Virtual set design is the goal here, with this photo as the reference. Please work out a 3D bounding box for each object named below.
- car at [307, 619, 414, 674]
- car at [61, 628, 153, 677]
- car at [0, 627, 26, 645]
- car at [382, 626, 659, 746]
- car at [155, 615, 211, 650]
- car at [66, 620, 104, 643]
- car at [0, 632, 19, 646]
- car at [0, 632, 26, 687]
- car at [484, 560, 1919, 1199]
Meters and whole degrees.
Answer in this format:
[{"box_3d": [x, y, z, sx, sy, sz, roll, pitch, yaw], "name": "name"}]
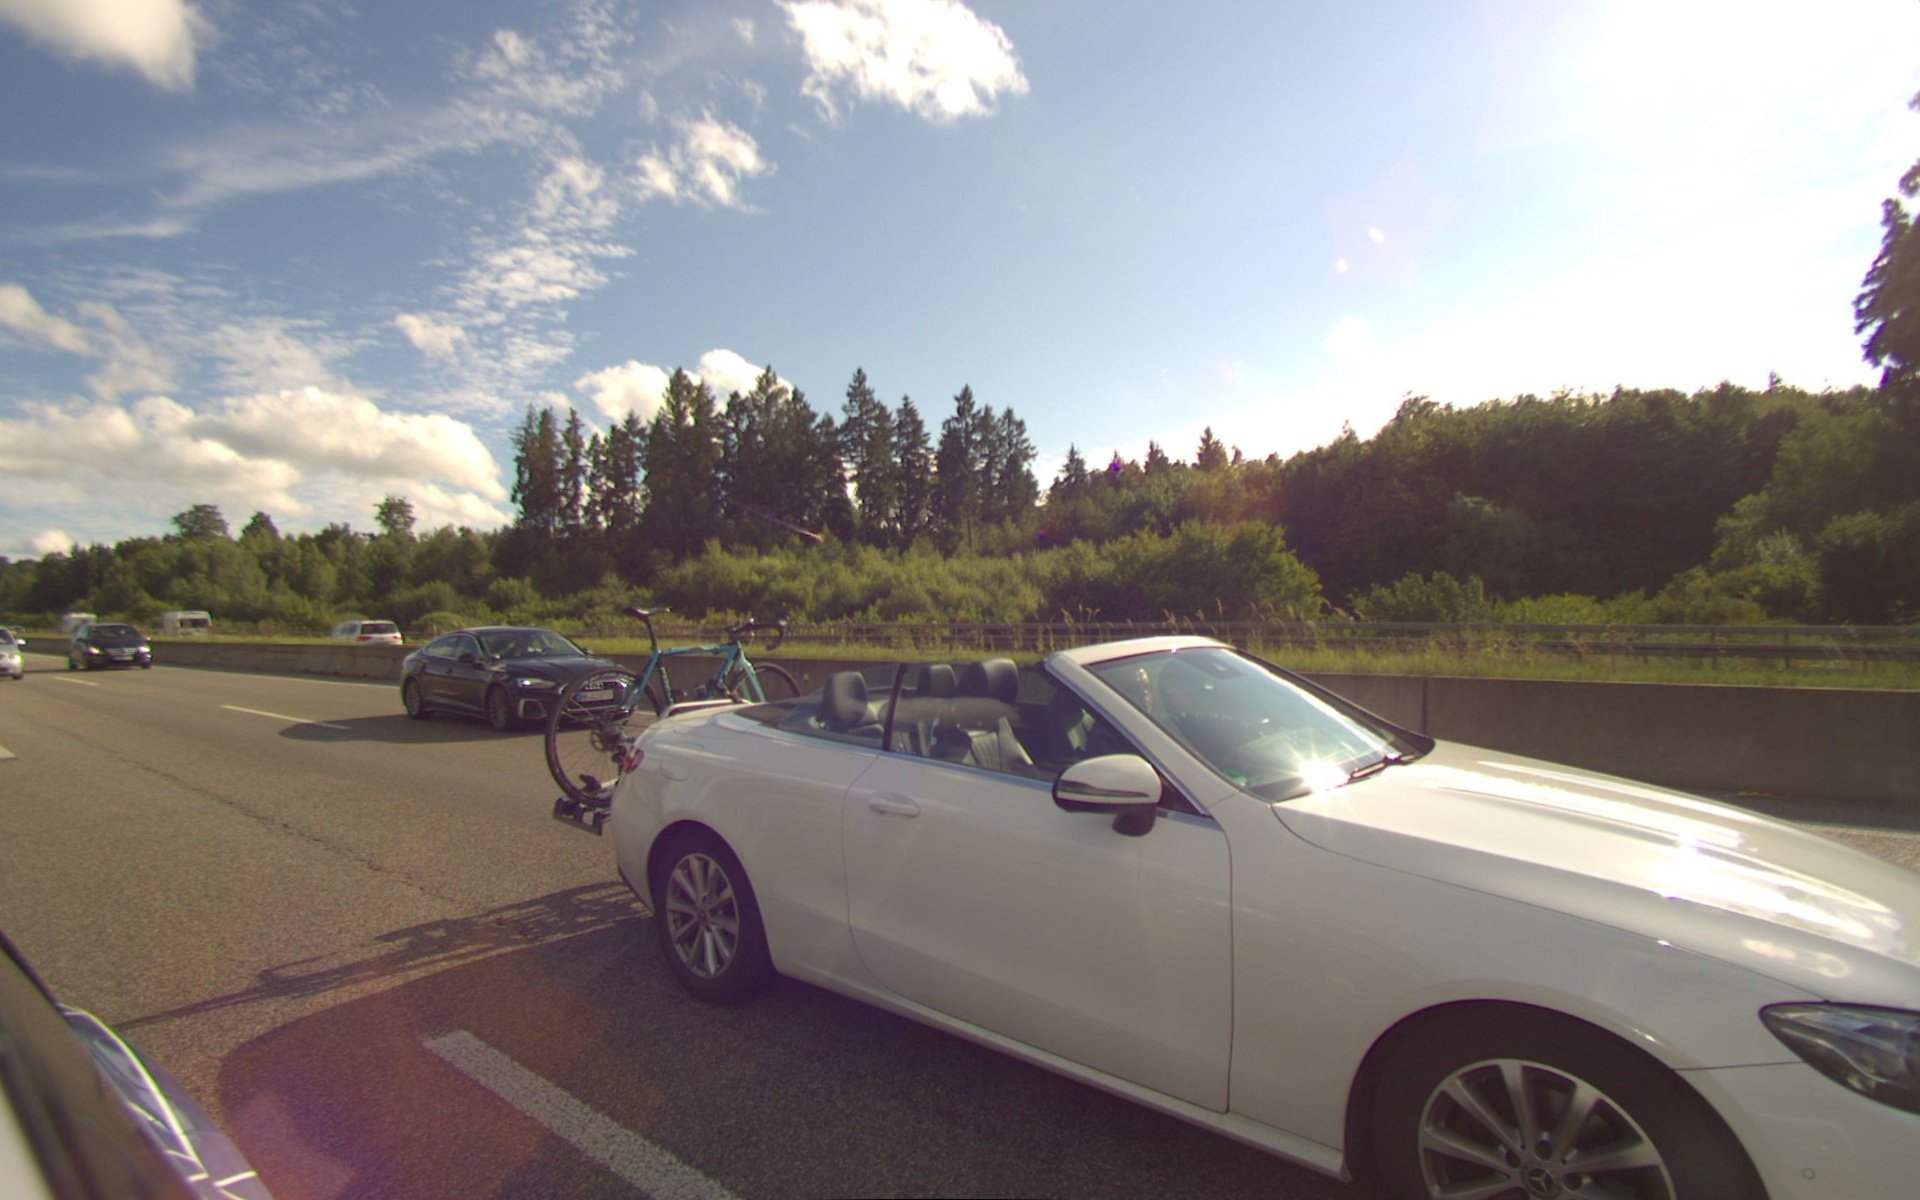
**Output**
[{"box_3d": [-24.140, 1.825, 40.652, 5.281, 1.939, 2.075, -2, 1, 41], "name": "car"}, {"box_3d": [-29.426, 1.766, 34.861, 4.331, 1.529, 1.816, -2, -1, 41], "name": "car"}, {"box_3d": [-118.089, 4.470, 125.855, 5.029, 2.051, 2.295, -2, -1, 41], "name": "car"}, {"box_3d": [-6.503, 1.124, 14.682, 4.839, 1.442, 1.836, -2, -1, 42], "name": "car"}, {"box_3d": [-55.433, 2.330, 72.189, 5.443, 2.292, 2.075, -2, 1, 41], "name": "car"}, {"box_3d": [-102.067, 3.657, 118.025, 5.842, 2.494, 2.518, -2, 1, 41], "name": "car"}, {"box_3d": [-103.337, 4.242, 109.533, 3.998, 1.431, 1.800, -2, -1, 41], "name": "car"}, {"box_3d": [-28.366, 1.699, 29.089, 4.331, 1.529, 1.816, -2, -1, 41], "name": "car"}, {"box_3d": [0.482, 0.749, 3.815, 5.734, 1.511, 2.038, -2, -1, 42], "name": "car"}]
